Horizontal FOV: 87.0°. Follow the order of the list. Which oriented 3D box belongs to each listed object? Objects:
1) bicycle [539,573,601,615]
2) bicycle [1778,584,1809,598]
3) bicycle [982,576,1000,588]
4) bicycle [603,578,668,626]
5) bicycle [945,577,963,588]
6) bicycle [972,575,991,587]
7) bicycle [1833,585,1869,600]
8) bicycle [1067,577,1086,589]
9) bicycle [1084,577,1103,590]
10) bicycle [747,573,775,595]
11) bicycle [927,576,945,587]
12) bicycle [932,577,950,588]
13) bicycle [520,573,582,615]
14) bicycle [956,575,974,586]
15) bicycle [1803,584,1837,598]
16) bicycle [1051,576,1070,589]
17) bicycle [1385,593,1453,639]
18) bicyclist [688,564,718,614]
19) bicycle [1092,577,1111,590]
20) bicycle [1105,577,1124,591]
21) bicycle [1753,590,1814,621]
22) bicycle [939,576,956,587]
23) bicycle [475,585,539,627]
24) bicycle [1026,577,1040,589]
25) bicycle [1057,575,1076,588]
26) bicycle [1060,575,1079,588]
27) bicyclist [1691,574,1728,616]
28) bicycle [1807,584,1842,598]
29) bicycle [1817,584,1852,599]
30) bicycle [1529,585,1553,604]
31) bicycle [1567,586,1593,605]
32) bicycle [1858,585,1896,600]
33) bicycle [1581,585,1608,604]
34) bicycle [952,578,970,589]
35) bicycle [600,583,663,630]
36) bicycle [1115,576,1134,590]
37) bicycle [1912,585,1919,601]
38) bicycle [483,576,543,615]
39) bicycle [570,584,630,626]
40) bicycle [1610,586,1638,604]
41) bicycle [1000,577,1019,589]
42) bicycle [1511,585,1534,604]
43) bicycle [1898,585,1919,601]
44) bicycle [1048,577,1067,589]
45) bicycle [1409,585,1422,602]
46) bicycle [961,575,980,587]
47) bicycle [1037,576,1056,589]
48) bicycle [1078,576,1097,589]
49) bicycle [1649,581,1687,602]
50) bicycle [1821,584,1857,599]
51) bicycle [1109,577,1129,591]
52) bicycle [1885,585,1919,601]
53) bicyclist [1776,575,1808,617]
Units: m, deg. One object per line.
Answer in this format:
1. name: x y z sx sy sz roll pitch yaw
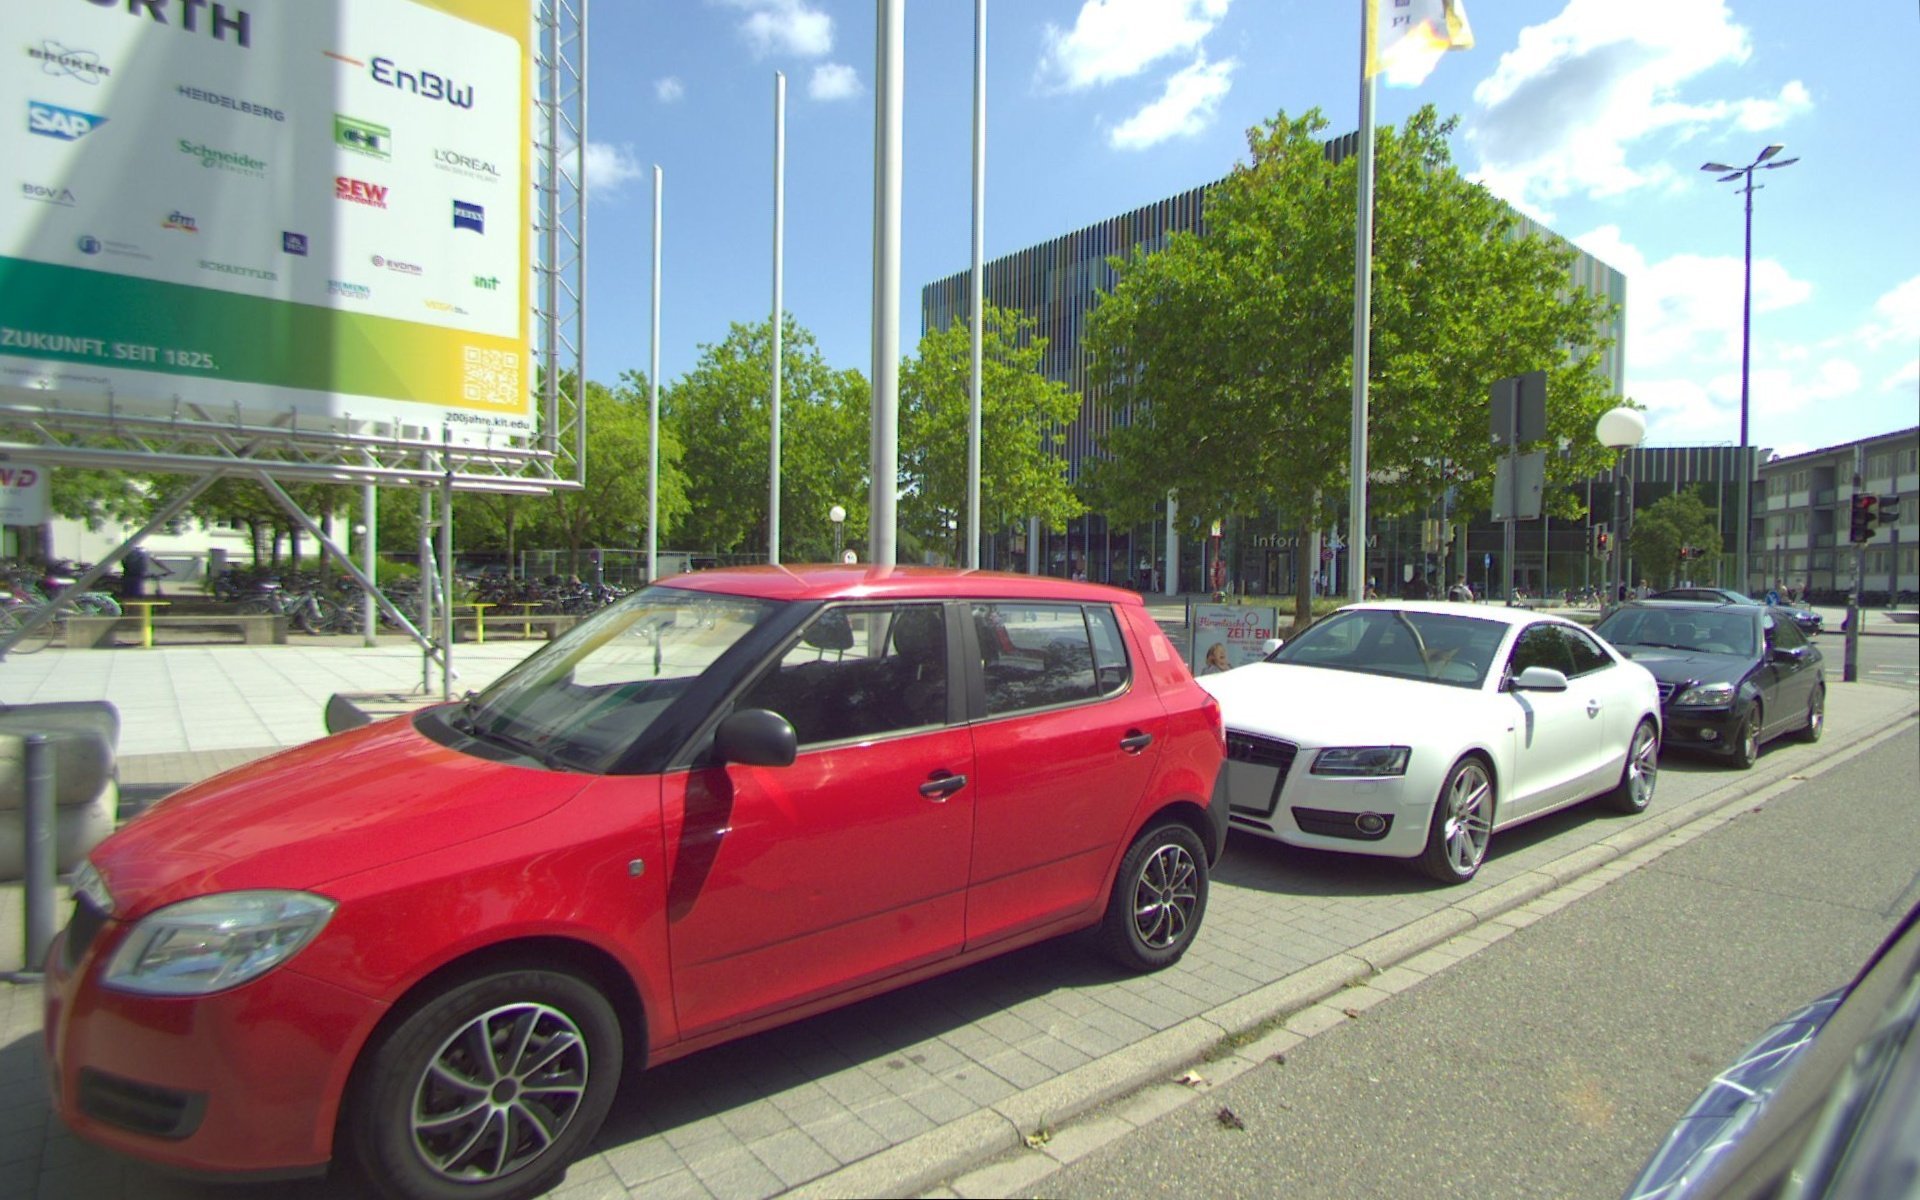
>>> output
1. bicycle: -10.695 -0.189 27.816 0.596 1.112 1.756 1 1 20
2. bicycle: 63.480 -0.703 77.090 1.753 0.967 0.525 1 3 23
3. bicycle: 2.716 -1.564 87.906 1.754 0.967 0.432 -3 3 -40
4. bicycle: -8.096 0.036 25.356 0.596 1.112 1.757 0 3 20
5. bicycle: -0.532 -1.607 91.698 1.754 0.967 0.432 -3 3 -40
6. bicycle: 1.885 -1.648 88.555 1.754 0.967 0.432 -3 3 -40
7. bicycle: 61.049 -0.544 69.362 1.753 0.967 0.525 1 3 23
8. bicycle: 9.155 -1.335 79.257 1.514 0.967 0.374 -2 2 -24
9. bicycle: 10.288 -1.281 77.832 1.514 0.967 0.374 -2 2 -24
10. bicycle: -11.316 -0.915 57.601 0.628 1.206 2.116 2 0 -39
11. bicycle: -2.218 -1.732 93.762 1.754 0.967 0.432 -3 3 -40
12. bicycle: -1.762 -1.626 93.232 1.754 0.967 0.432 -3 3 -40
13. bicycle: -11.356 -0.179 28.149 0.596 1.112 1.756 0 1 20
14. bicycle: 0.442 -1.744 90.554 1.754 0.967 0.432 -3 3 -40
15. bicycle: 62.464 -0.652 73.487 1.753 0.967 0.525 1 3 23
16. bicycle: 8.043 -1.421 80.929 1.514 0.967 0.374 -2 2 -24
17. bicycle: 12.131 0.432 26.728 1.856 1.086 0.818 4 0 -37
18. bicyclist: -6.965 -0.301 27.435 0.595 1.337 0.744 2 0 -26
19. bicycle: 10.829 -1.273 77.549 1.514 0.967 0.374 -2 2 -24
20. bicycle: 11.709 -1.218 76.736 1.514 0.967 0.374 -2 2 -24
21. bicycle: 31.345 0.211 38.528 1.654 1.138 0.689 1 1 26
22. bicycle: -1.136 -1.677 92.381 1.754 0.967 0.432 -3 3 -40
23. bicycle: -12.529 0.138 28.049 0.596 1.112 1.756 0 1 20
24. bicycle: 5.963 -1.373 82.436 0.372 0.967 1.525 1 3 39
25. bicycle: 8.498 -1.498 80.460 1.514 0.967 0.374 -2 2 -24
26. bicycle: 8.658 -1.463 79.922 1.514 0.967 0.374 -2 2 -24
27. bicyclist: 29.144 -0.206 39.362 0.988 1.635 0.652 1 1 22
28. bicycle: 62.237 -0.672 72.872 1.753 0.967 0.525 1 3 23
29. bicycle: 61.734 -0.603 71.436 1.753 0.967 0.525 1 3 23
30. bicycle: 33.421 -0.320 58.249 0.520 0.967 1.771 -2 2 7
31. bicycle: 35.268 -0.263 57.578 0.519 0.967 1.772 0 2 4
32. bicycle: 60.555 -0.507 66.863 1.753 0.967 0.525 1 3 23
33. bicycle: 36.067 -0.320 57.516 0.519 0.967 1.772 0 2 4
34. bicycle: 0.069 -1.483 91.007 1.754 0.967 0.432 -3 3 -40
35. bicycle: -8.498 0.154 26.227 0.596 1.112 1.757 0 3 20
36. bicycle: 12.308 -1.271 75.706 1.514 0.967 0.374 -2 2 -24
37. bicycle: 59.565 -0.409 61.978 1.753 0.967 0.525 1 3 23
38. bicycle: -13.540 -0.149 30.703 0.596 1.112 1.757 0 3 20
39. bicycle: -9.950 0.111 28.004 0.596 1.112 1.756 0 1 20
40. bicycle: 37.653 -0.294 57.378 0.519 0.967 1.772 0 2 4
41. bicycle: 4.195 -1.451 85.945 1.754 0.967 0.432 -3 3 -40
42. bicycle: 32.484 -0.325 58.446 0.520 0.967 1.771 0 3 7
43. bicycle: 59.892 -0.427 63.239 1.753 0.967 0.525 1 3 23
44. bicycle: 7.847 -1.372 81.312 1.514 0.967 0.374 -2 2 -24
45. bicycle: 26.943 -0.371 59.890 0.368 0.967 1.542 1 2 11
46. bicycle: 0.944 -1.680 89.713 1.754 0.967 0.432 -3 3 -40
47. bicycle: 7.025 -1.430 82.224 1.514 0.967 0.374 -2 2 -24
48. bicycle: 9.890 -1.363 78.348 1.514 0.967 0.374 -2 2 -24
49. bicycle: 34.307 -0.431 49.049 0.519 0.967 1.775 0 2 -2
50. bicycle: 61.350 -0.592 70.635 1.753 0.967 0.525 1 3 23
51. bicycle: 11.947 -1.218 76.191 1.514 0.967 0.374 -2 2 -24
52. bicycle: 60.231 -0.453 64.516 1.753 0.967 0.525 1 3 23
53. bicyclist: 31.559 -0.169 38.408 0.778 1.557 0.651 1 1 26
